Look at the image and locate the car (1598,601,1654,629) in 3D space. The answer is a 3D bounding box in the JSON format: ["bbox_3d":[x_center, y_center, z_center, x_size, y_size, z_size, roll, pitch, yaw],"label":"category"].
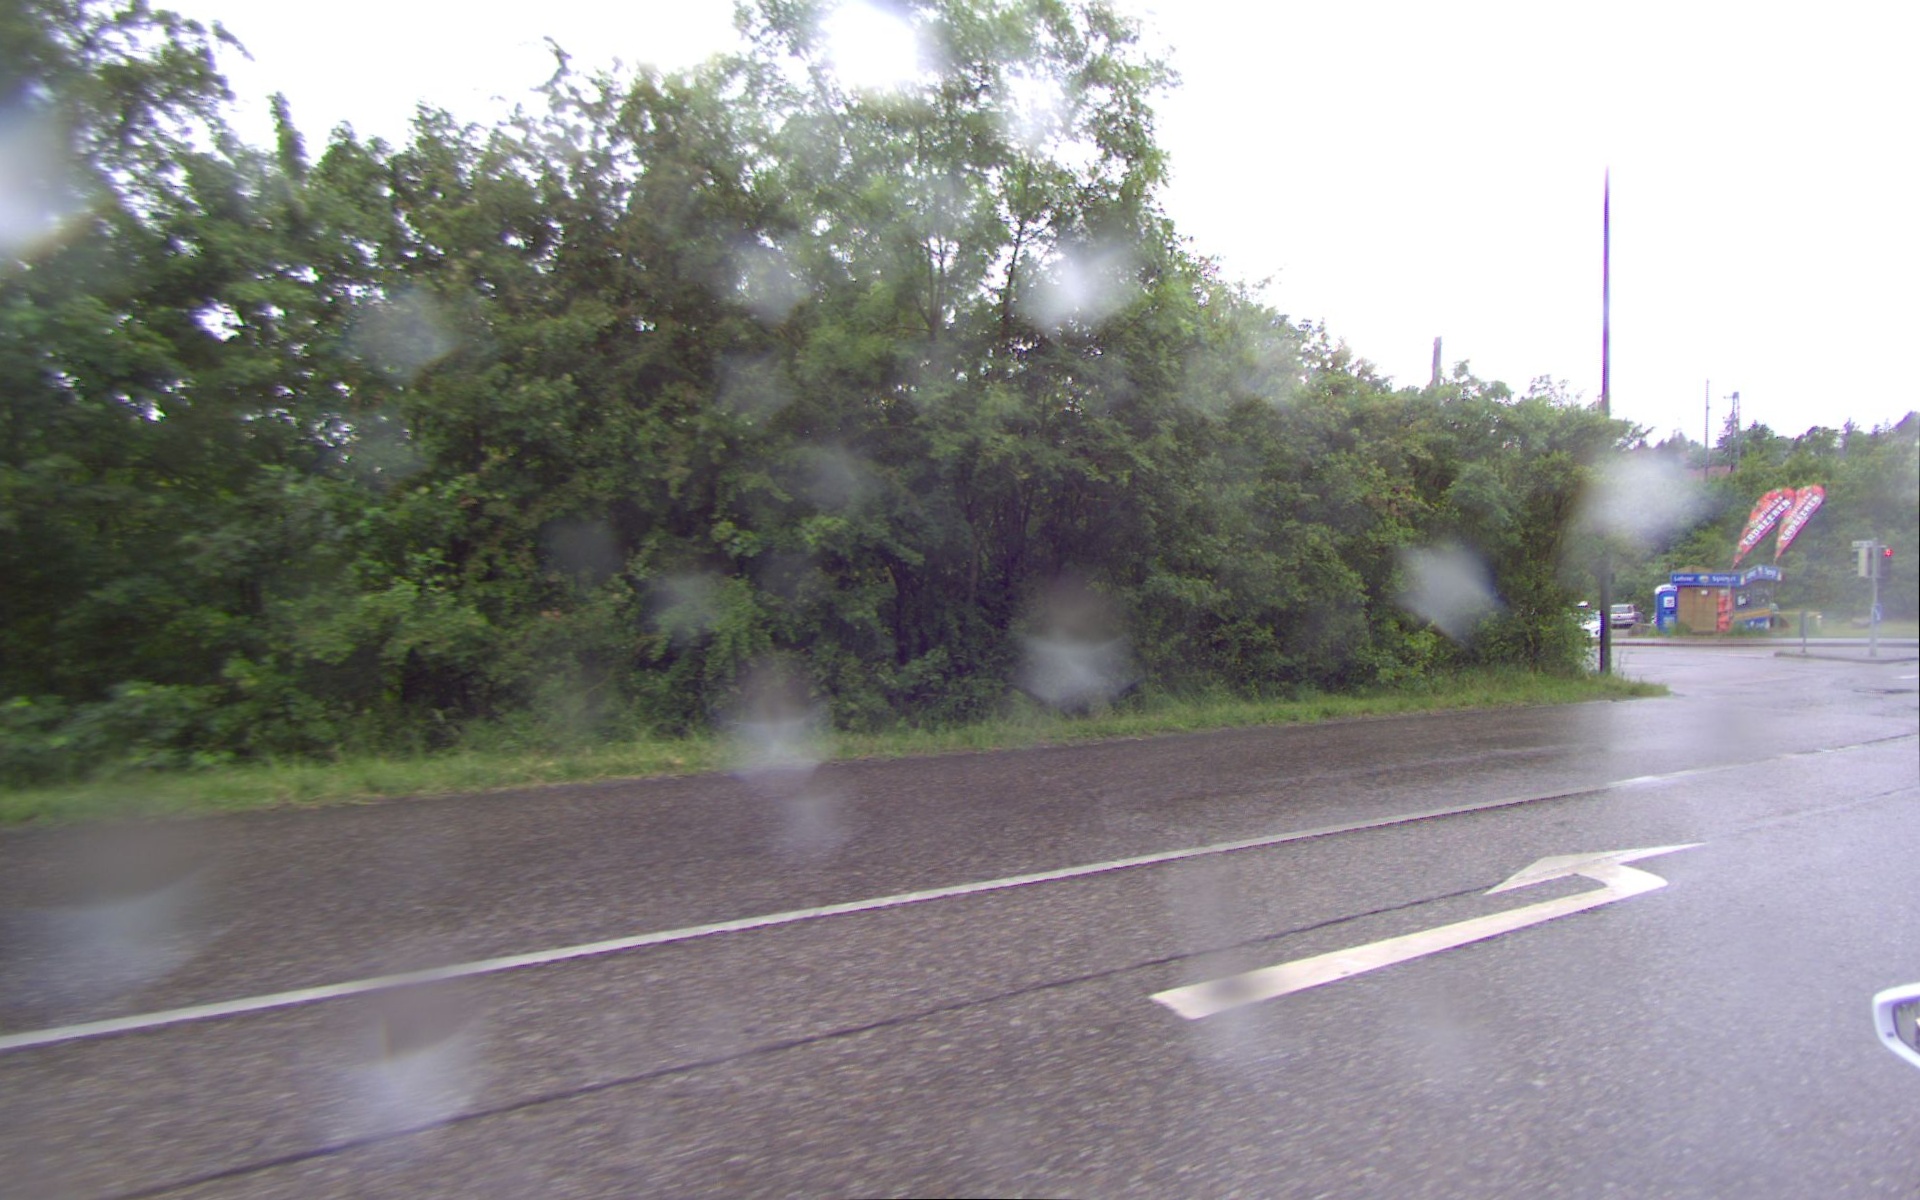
[{"bbox_3d":[40.369,0.908,60.874,3.972,1.606,1.975,0,-1,-43],"label":"car"}]

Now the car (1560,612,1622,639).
[{"bbox_3d":[33.534,1.357,53.339,4.869,1.358,1.635,2,-1,-44],"label":"car"}]
